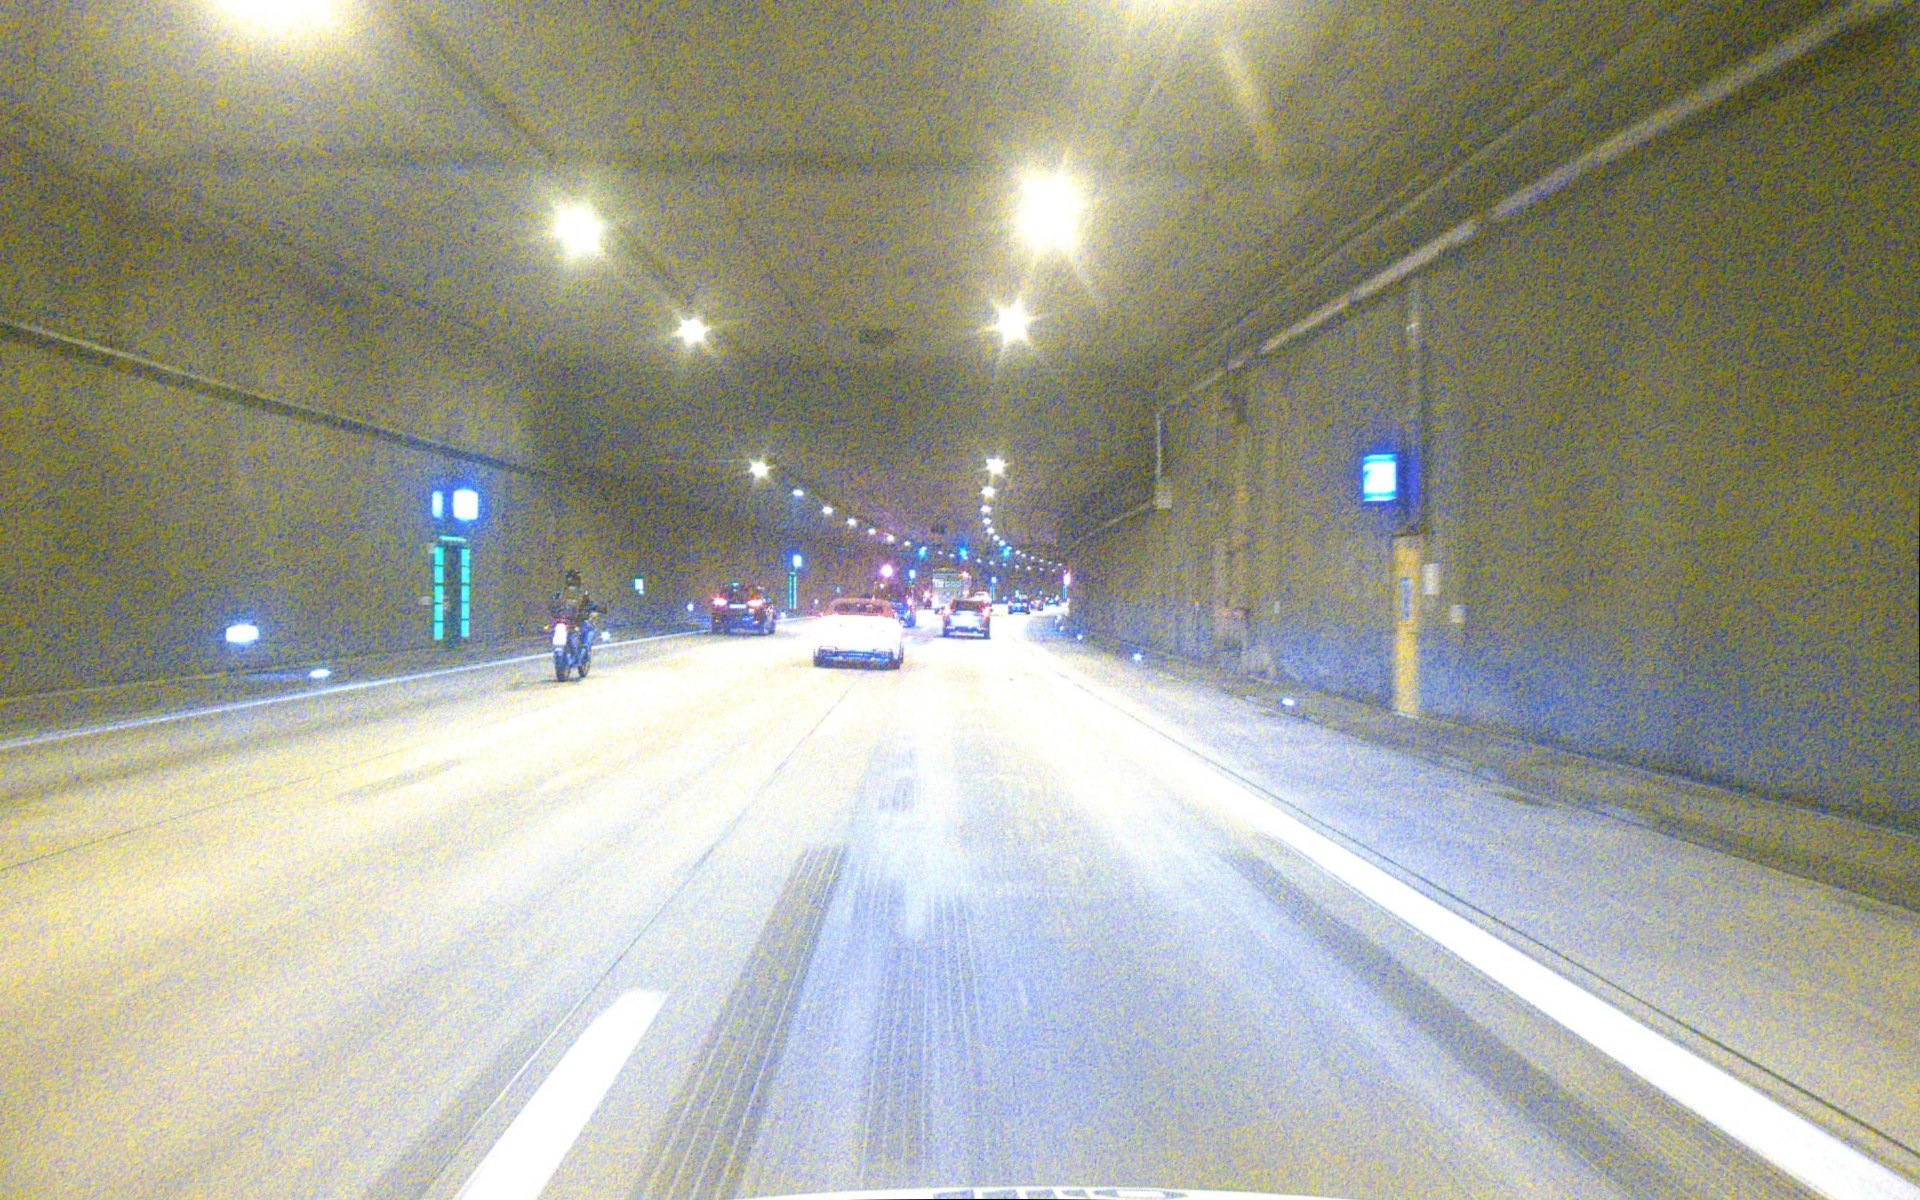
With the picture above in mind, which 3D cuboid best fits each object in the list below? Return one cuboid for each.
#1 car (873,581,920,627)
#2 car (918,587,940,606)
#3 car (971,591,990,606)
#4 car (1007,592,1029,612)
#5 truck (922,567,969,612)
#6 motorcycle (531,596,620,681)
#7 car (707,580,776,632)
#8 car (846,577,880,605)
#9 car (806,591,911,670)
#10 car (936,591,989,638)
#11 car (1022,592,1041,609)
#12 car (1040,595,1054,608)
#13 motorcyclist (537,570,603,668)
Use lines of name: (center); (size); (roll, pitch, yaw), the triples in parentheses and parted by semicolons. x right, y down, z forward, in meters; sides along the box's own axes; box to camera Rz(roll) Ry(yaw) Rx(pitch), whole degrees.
car: (-2.877, 0.153, 75.657); (1.953, 2.006, 4.000); (1, 0, 0)
car: (-2.717, -0.298, 146.032); (1.805, 1.632, 4.001); (0, 0, 1)
car: (2.238, -0.182, 179.868); (1.792, 1.646, 4.002); (0, 0, 4)
car: (4.865, 0.167, 138.894); (1.805, 1.595, 4.001); (0, 0, 1)
truck: (-1.034, -0.856, 124.578); (3.019, 3.167, 10.032); (-1, 1, 2)
motorcycle: (-6.078, 0.573, 26.296); (0.828, 1.267, 2.604); (0, 0, 0)
car: (-7.118, 0.178, 54.291); (1.749, 1.626, 3.801); (0, 0, 0)
car: (-6.184, -0.571, 105.630); (1.763, 1.713, 4.001); (-2, 0, 2)
car: (-2.085, 0.607, 34.943); (1.953, 1.509, 4.000); (2, 0, 0)
car: (0.057, 0.531, 62.056); (1.802, 1.630, 3.999); (2, 0, -2)
car: (7.186, 0.009, 167.390); (1.820, 1.695, 4.001); (0, 0, 1)
car: (11.404, 0.181, 216.242); (1.795, 1.721, 4.002); (0, 0, 3)
motorcyclist: (-6.106, 0.291, 25.929); (0.822, 1.503, 0.821); (-1, 0, -1)
